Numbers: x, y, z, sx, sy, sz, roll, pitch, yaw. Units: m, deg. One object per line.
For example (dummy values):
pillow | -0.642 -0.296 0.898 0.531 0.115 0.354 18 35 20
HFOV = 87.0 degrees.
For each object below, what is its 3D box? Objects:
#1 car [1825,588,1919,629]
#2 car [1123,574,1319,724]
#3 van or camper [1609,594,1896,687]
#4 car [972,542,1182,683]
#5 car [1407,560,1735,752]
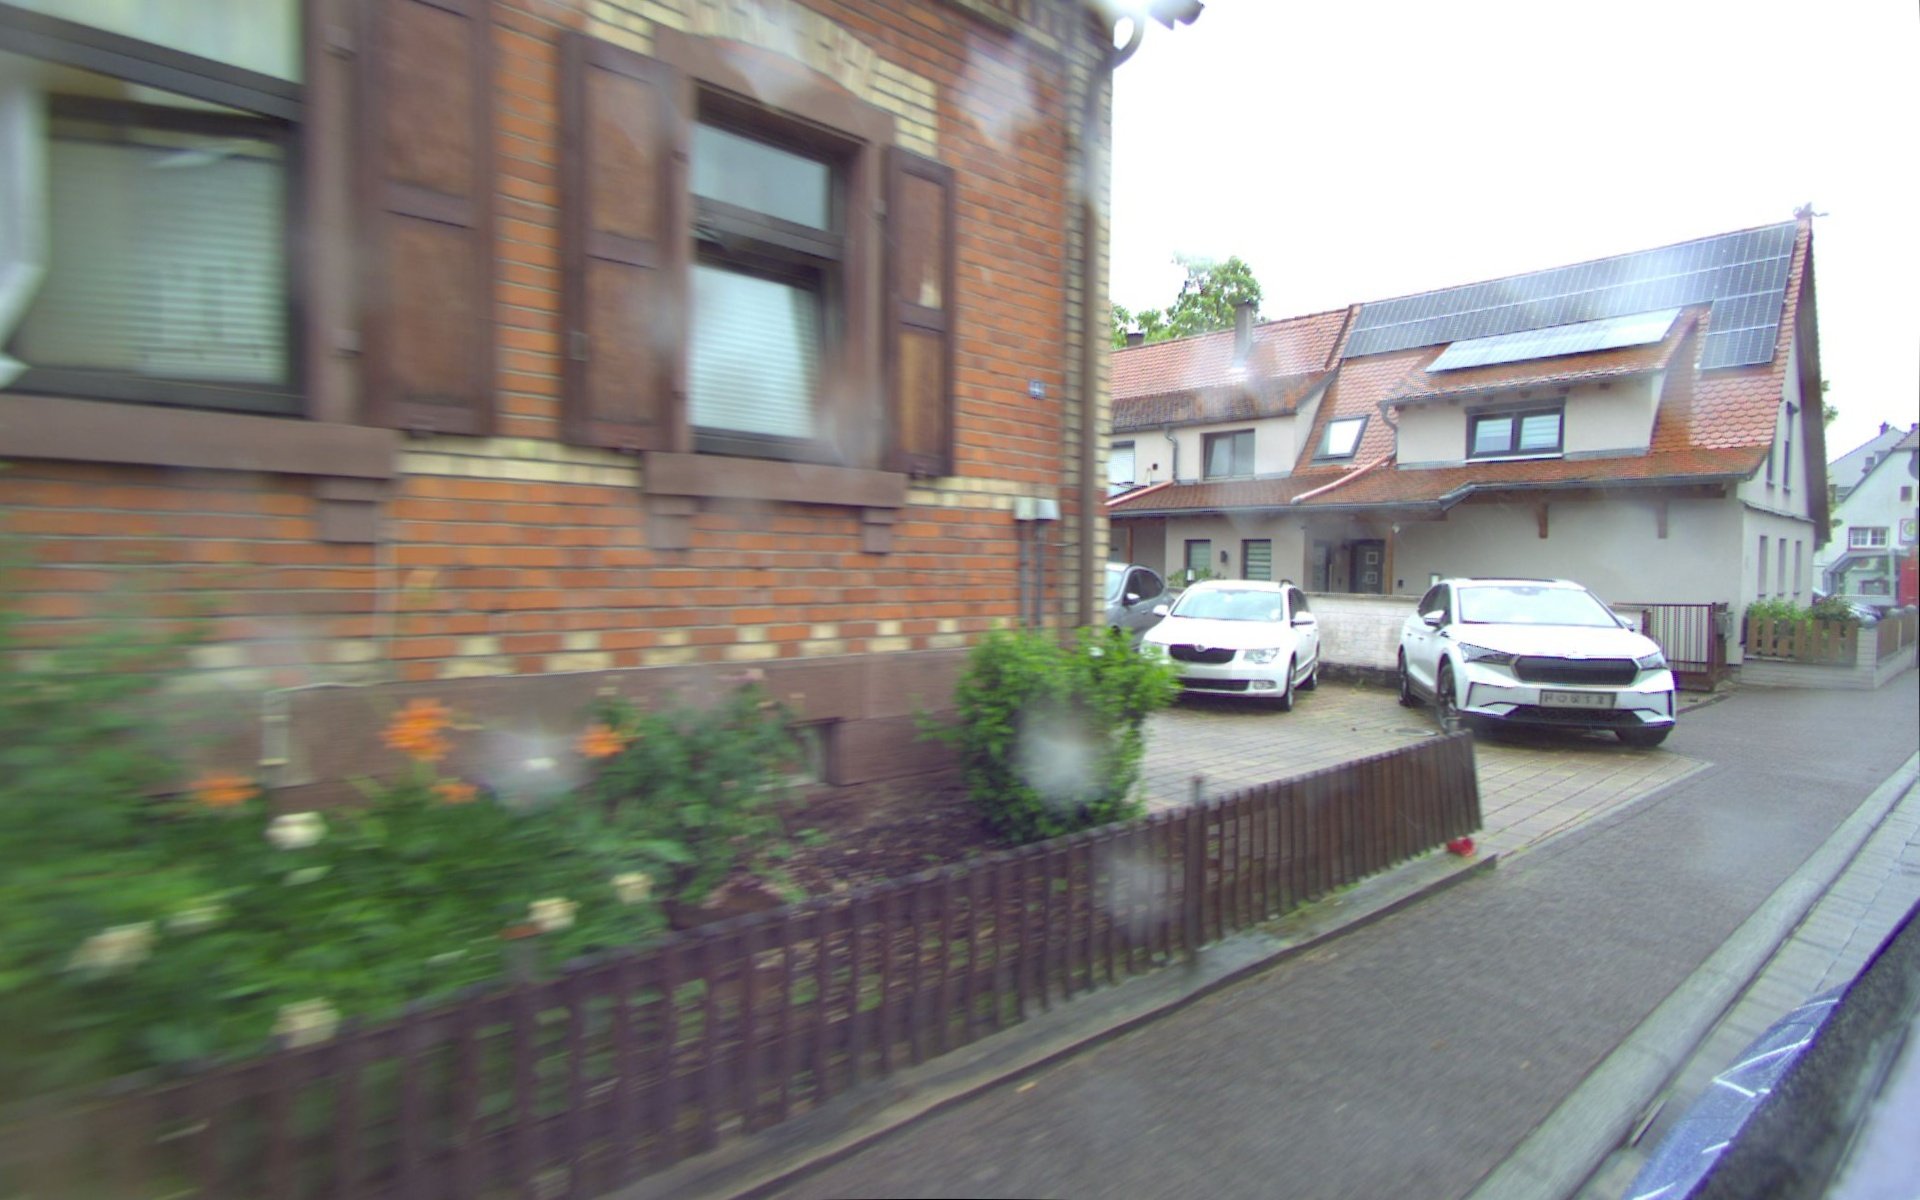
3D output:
car | 36.295 0.313 38.959 1.660 1.499 4.249 0 1 -26
car | 3.462 0.490 12.823 1.855 1.536 4.260 1 1 22
van or camper | 18.331 0.878 23.631 1.845 1.947 5.071 0 -1 -44
car | 1.883 0.126 15.000 1.792 1.696 4.184 4 2 25
car | 6.221 0.514 10.971 1.851 1.610 4.595 0 -1 16
